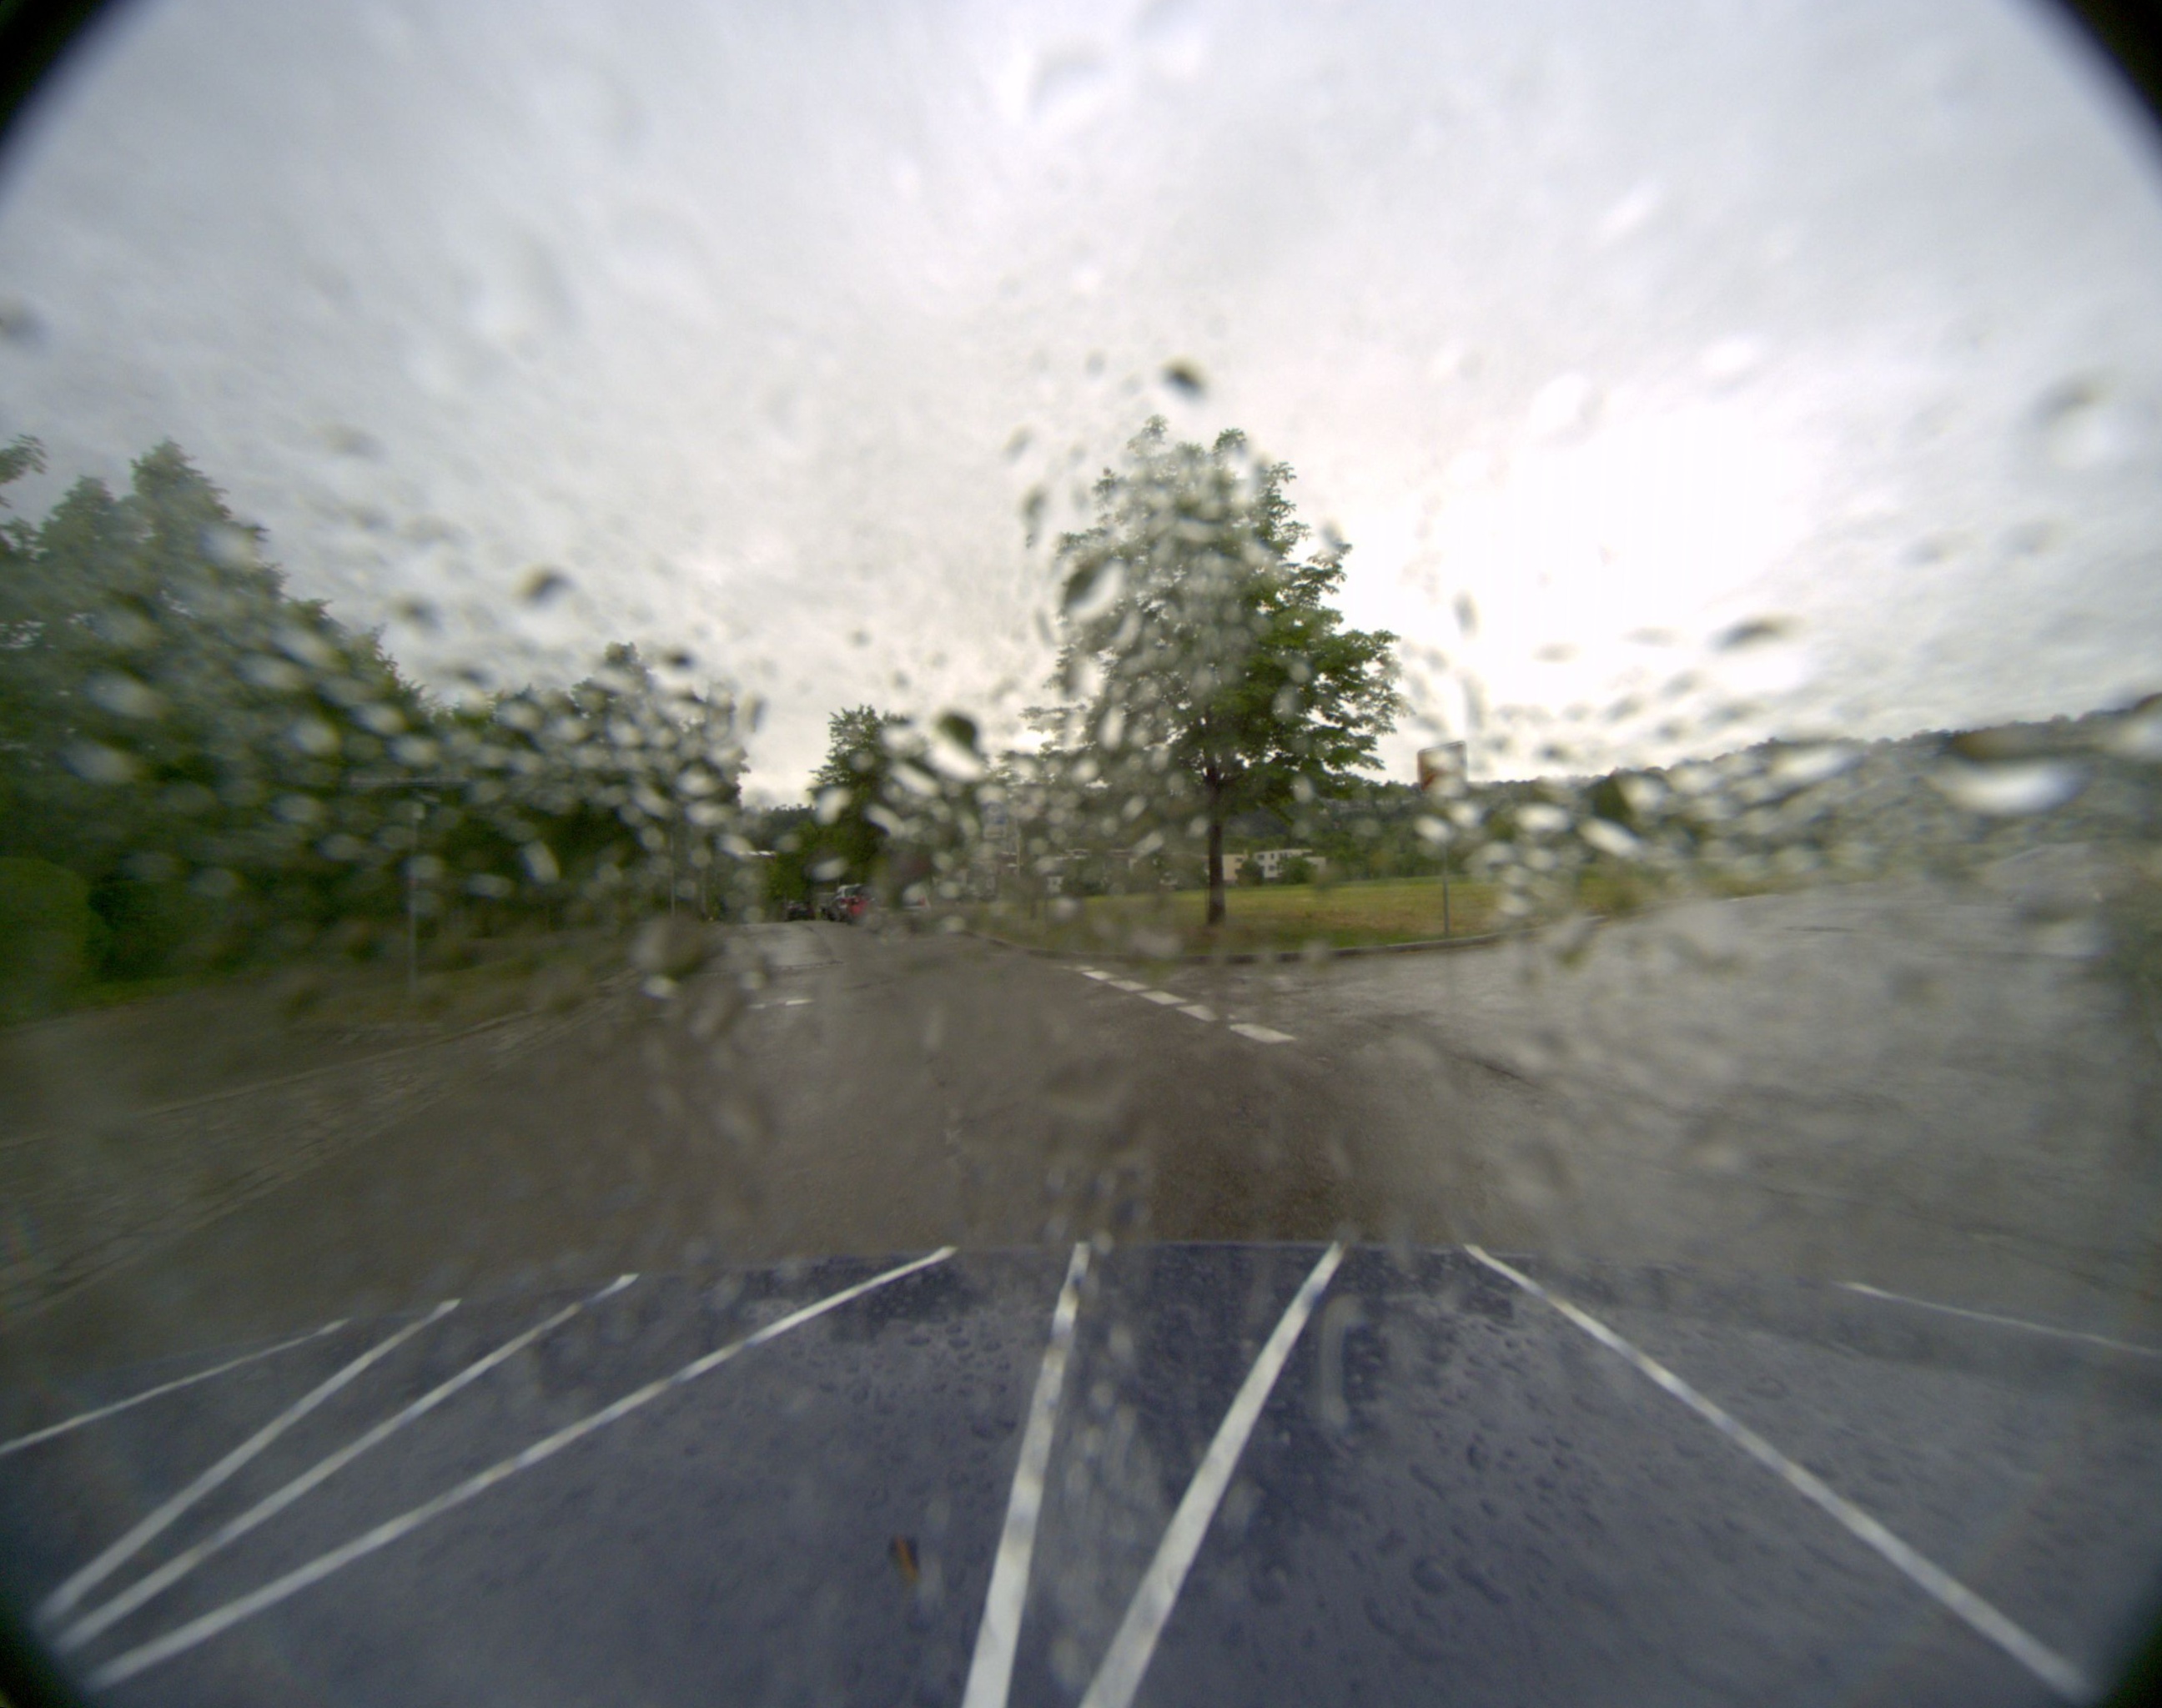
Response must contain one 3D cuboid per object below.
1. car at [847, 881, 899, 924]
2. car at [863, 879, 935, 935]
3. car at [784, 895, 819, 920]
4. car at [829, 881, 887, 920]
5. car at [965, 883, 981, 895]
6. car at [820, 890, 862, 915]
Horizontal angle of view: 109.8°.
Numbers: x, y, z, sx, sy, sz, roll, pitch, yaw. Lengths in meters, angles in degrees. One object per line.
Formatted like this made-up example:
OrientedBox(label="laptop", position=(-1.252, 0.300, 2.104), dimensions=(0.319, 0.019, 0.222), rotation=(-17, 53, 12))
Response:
OrientedBox(label="car", position=(-7.816, 1.769, 28.388), dimensions=(1.555, 1.427, 3.008), rotation=(-3, -2, -20))
OrientedBox(label="car", position=(-5.571, 1.530, 23.001), dimensions=(1.681, 1.470, 3.549), rotation=(-3, -1, -19))
OrientedBox(label="car", position=(-21.080, 4.046, 57.191), dimensions=(1.965, 1.596, 3.995), rotation=(-1, -5, -27))
OrientedBox(label="car", position=(-10.049, 2.087, 34.073), dimensions=(1.854, 1.542, 3.984), rotation=(-2, -3, -25))
OrientedBox(label="car", position=(-29.108, 9.400, 204.806), dimensions=(2.143, 3.205, 5.078), rotation=(-3, -1, -31))
OrientedBox(label="car", position=(-13.230, 2.643, 41.767), dimensions=(1.736, 1.273, 3.323), rotation=(-2, -2, -26))
